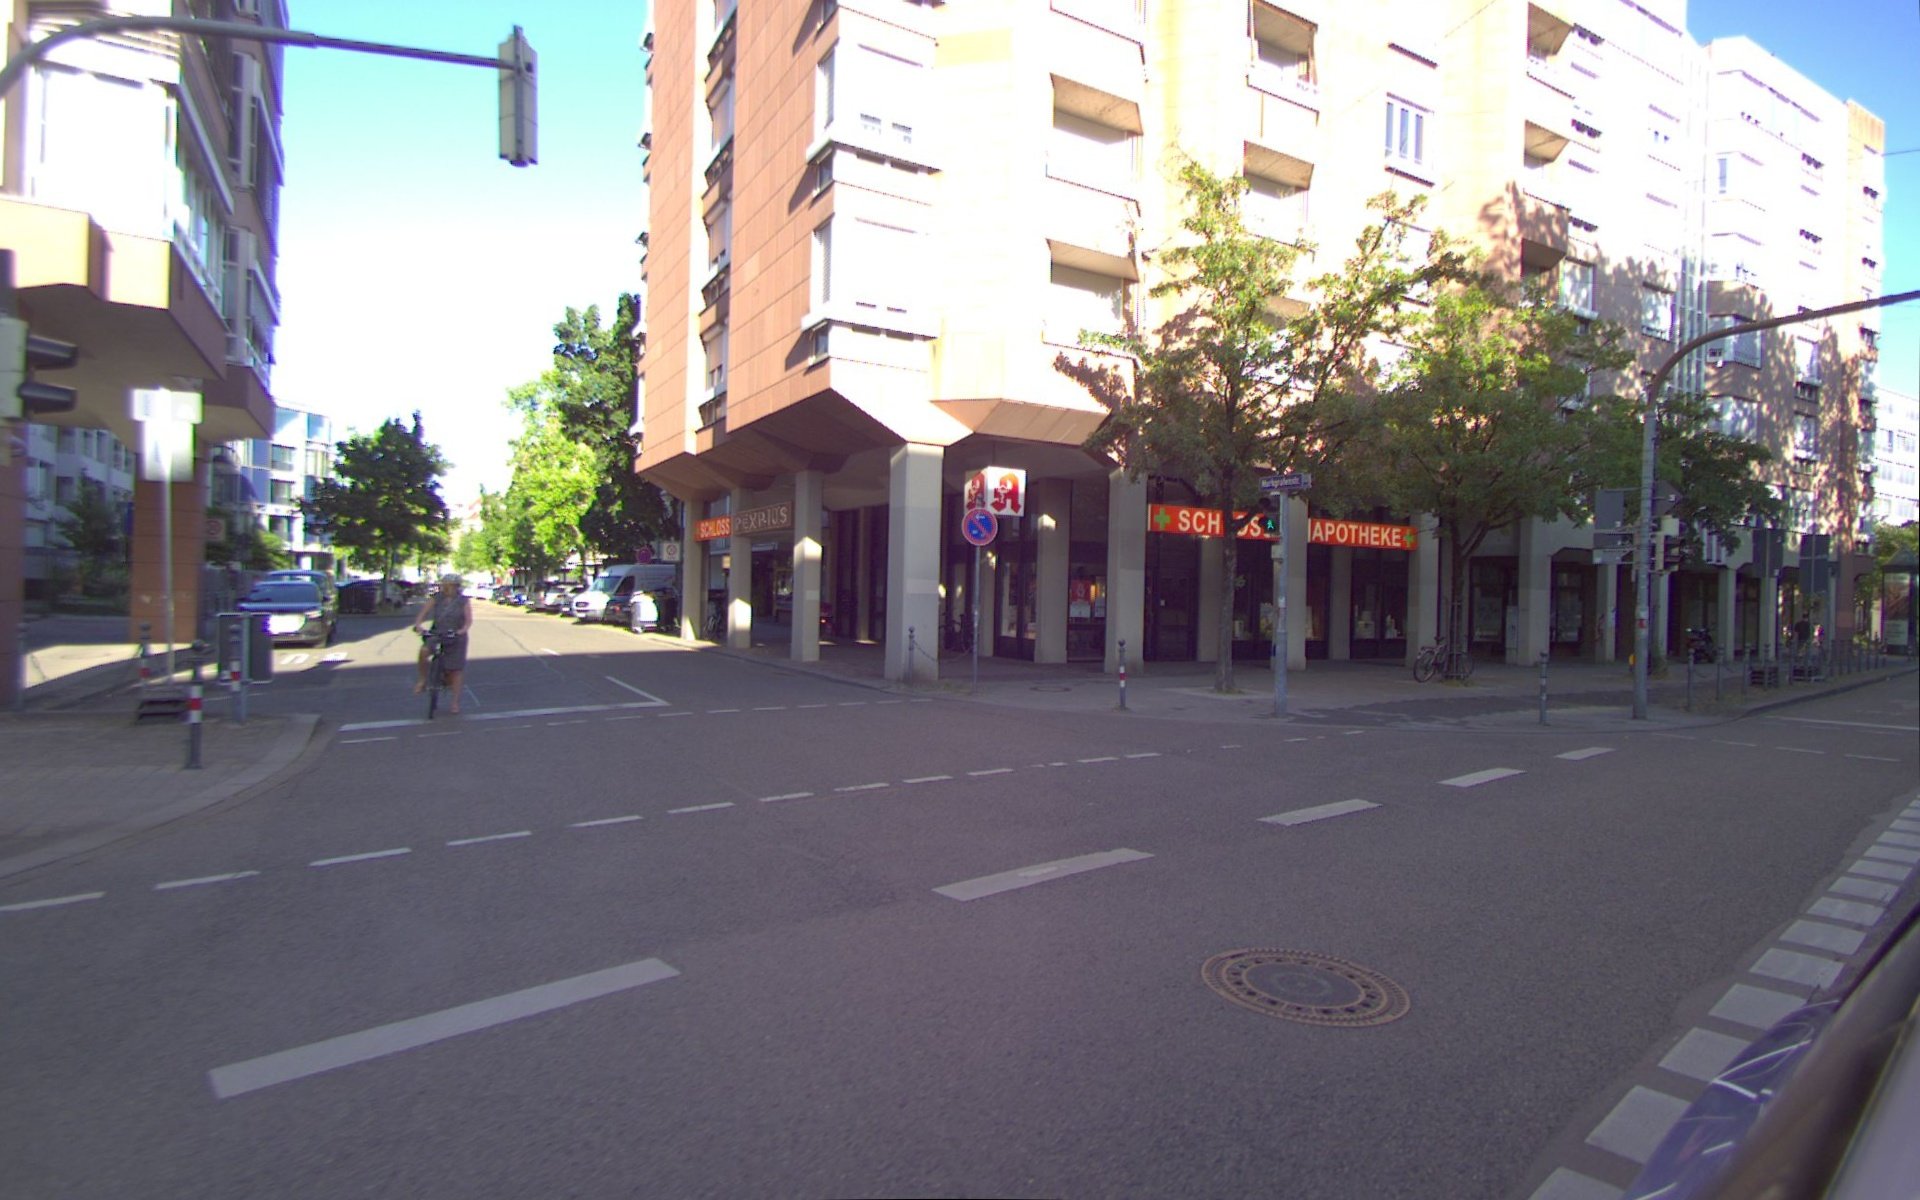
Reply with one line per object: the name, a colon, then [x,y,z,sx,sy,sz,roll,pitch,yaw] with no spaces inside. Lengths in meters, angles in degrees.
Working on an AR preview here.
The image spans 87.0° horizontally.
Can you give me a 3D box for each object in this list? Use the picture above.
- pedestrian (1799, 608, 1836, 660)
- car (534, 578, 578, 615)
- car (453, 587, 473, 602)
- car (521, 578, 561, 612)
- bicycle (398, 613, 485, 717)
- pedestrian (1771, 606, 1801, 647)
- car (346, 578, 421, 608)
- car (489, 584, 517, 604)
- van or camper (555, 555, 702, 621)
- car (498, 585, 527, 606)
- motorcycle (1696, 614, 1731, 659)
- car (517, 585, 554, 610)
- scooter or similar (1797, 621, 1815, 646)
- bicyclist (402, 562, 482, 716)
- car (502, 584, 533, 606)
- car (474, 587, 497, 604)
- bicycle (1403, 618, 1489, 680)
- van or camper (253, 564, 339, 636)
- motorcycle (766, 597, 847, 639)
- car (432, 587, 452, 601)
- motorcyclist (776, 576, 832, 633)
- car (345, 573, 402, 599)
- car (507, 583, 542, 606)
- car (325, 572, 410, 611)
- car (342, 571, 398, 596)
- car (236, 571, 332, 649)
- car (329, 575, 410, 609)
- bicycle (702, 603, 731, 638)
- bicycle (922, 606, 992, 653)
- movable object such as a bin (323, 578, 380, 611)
pedestrian: [30.049,1.185,35.466,0.820,1.760,0.784,1,0,-32]
car: [-23.363,-0.188,58.416,1.959,2.039,4.005,1,0,-28]
car: [-55.898,-0.606,113.812,1.959,1.565,4.005,0,0,-28]
car: [-26.067,-0.312,62.884,1.959,2.039,4.005,1,0,-28]
bicycle: [-6.419,0.751,12.475,0.788,1.127,1.922,1,0,-32]
pedestrian: [40.841,1.288,50.034,0.836,2.007,0.814,1,0,15]
car: [-34.879,-0.424,61.334,3.642,1.713,1.734,1,0,-19]
car: [-38.764,-0.509,85.818,1.959,1.662,4.005,0,0,-28]
van or camper: [-14.869,-0.513,45.918,2.339,2.802,6.384,1,0,30]
car: [-35.682,-0.326,80.668,1.831,1.605,4.005,0,0,-28]
motorcycle: [24.585,1.181,33.011,2.053,1.390,0.489,1,0,-41]
car: [-28.123,-0.140,66.964,1.959,1.605,4.005,0,0,-28]
scooter or similar: [44.289,1.756,52.985,0.481,1.232,1.435,1,0,29]
bicyclist: [-6.296,0.451,12.289,0.773,1.792,0.828,1,0,-32]
car: [-33.623,-0.390,76.829,1.831,1.605,4.005,0,0,-28]
car: [-48.433,-0.463,103.313,1.895,1.627,4.005,0,0,-28]
bicycle: [10.209,1.018,21.254,1.887,1.241,0.624,1,0,-28]
van or camper: [-19.856,-0.033,30.436,1.765,1.997,4.582,1,0,-29]
motorcycle: [-4.796,0.526,31.383,1.324,1.193,2.828,1,0,-36]
car: [-59.906,-0.684,117.024,1.959,1.565,4.005,0,0,-28]
motorcyclist: [-4.844,0.140,31.421,1.310,1.711,1.174,1,-1,-37]
car: [-48.950,-1.186,84.536,3.924,2.039,2.000,1,0,-36]
car: [-31.404,-0.365,72.924,1.959,1.605,4.005,0,0,-28]
car: [-31.729,-0.458,54.268,3.642,1.997,1.734,1,0,-19]
car: [-50.342,-1.385,86.364,3.924,2.039,2.000,1,0,-36]
car: [-16.536,0.193,24.917,1.766,1.743,4.202,1,0,-32]
car: [-33.225,-0.455,57.058,3.642,1.829,1.734,1,0,-19]
bicycle: [-7.638,0.628,31.762,0.600,1.032,1.318,1,0,-1]
bicycle: [-0.118,0.724,25.842,0.581,1.108,2.452,1,0,-31]
movable object such as a bin: [-28.441,-0.260,47.372,2.113,1.519,1.734,0,1,-25]
